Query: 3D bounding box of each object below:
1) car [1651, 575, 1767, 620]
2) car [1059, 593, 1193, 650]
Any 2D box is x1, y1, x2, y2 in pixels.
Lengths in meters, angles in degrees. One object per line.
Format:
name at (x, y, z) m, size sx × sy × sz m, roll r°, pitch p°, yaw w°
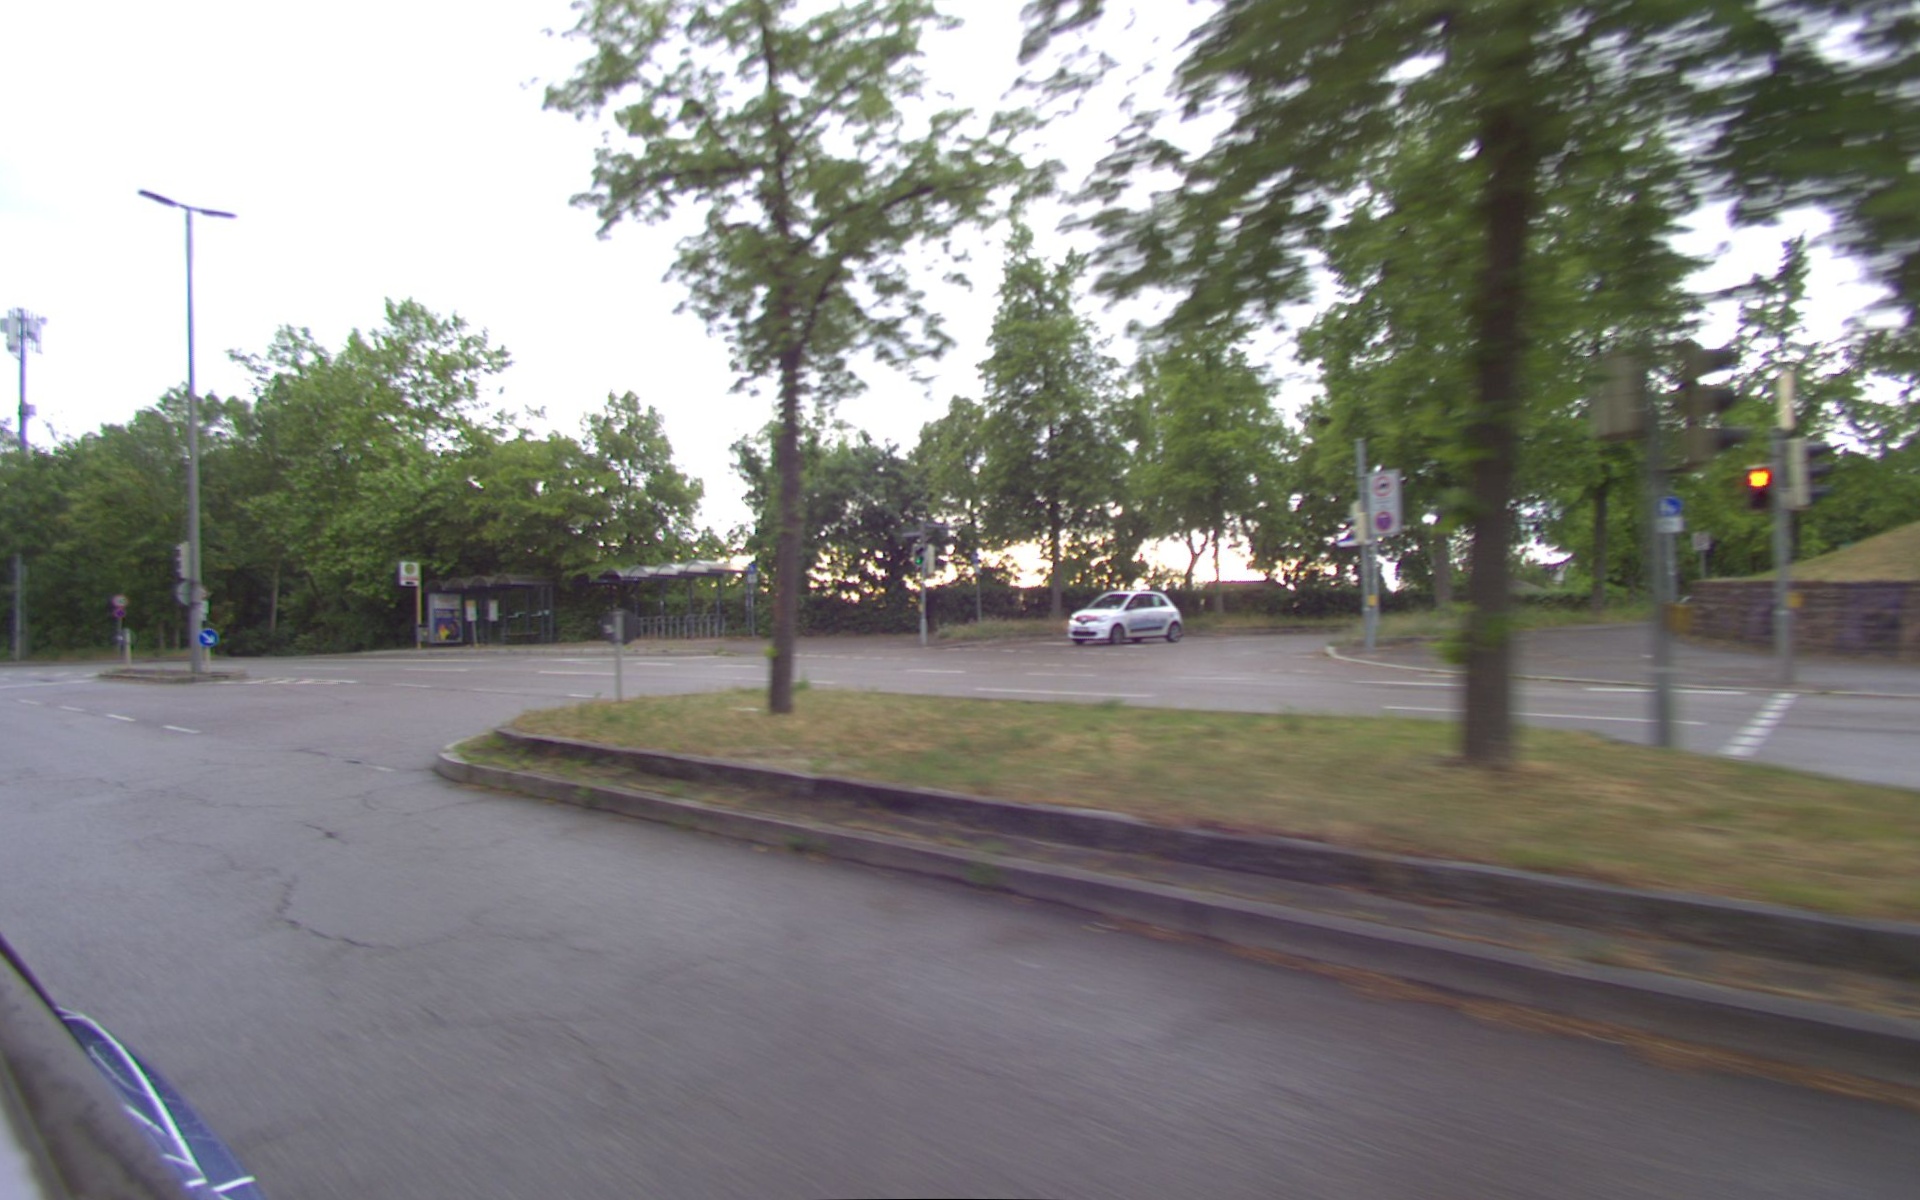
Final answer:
car at (28.032, -0.080, 37.879) m, size 3.869 × 1.502 × 2.006 m, roll -2°, pitch 0°, yaw -29°
car at (4.862, 0.581, 29.531) m, size 3.636 × 1.489 × 1.766 m, roll -2°, pitch 0°, yaw -35°
